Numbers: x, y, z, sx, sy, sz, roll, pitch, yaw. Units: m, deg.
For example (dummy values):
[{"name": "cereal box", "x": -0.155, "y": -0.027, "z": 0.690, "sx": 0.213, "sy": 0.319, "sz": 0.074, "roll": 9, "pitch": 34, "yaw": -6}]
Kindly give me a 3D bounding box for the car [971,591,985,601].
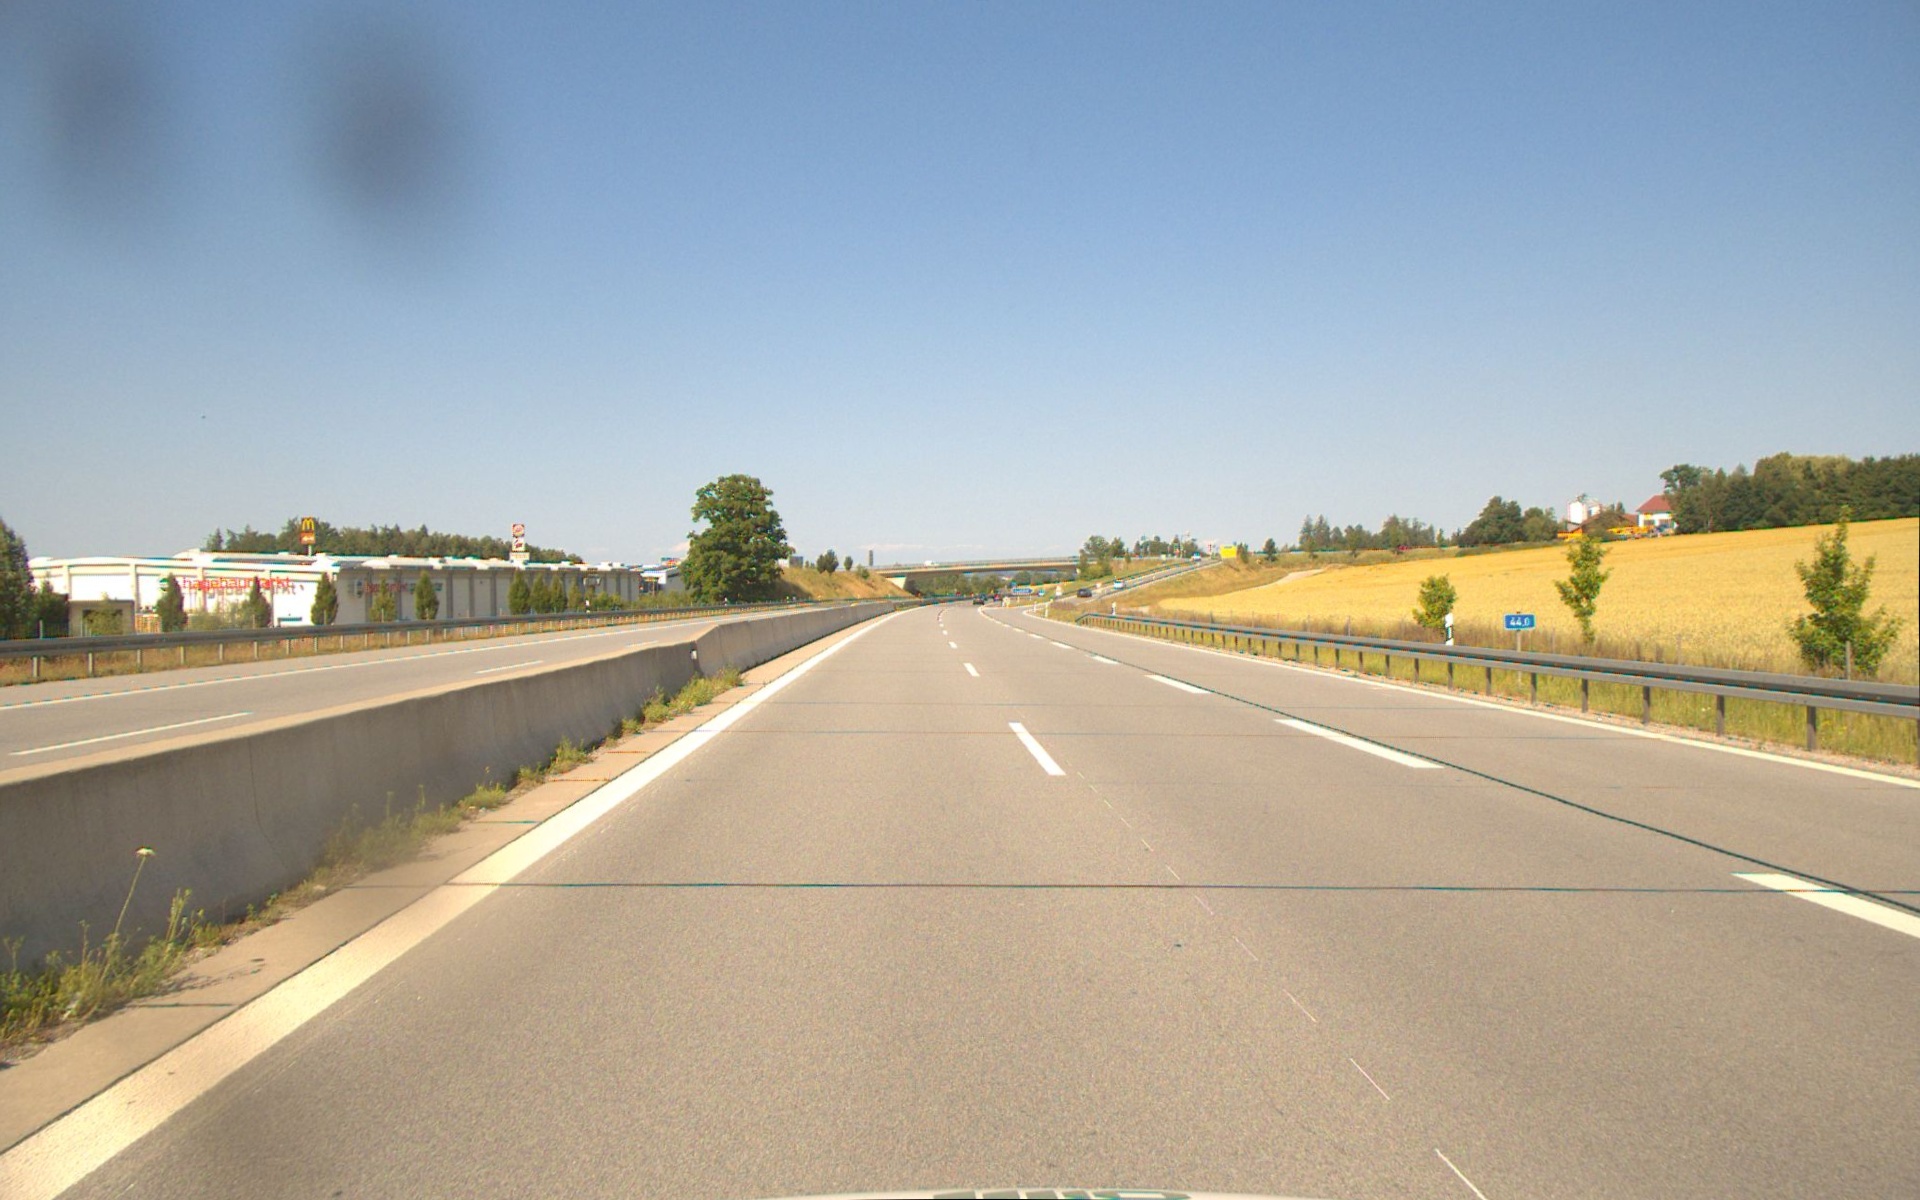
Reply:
[{"name": "car", "x": 2.804, "y": -0.668, "z": 256.805, "sx": 1.952, "sy": 1.445, "sz": 4.001, "roll": -2, "pitch": 0, "yaw": 2}]
